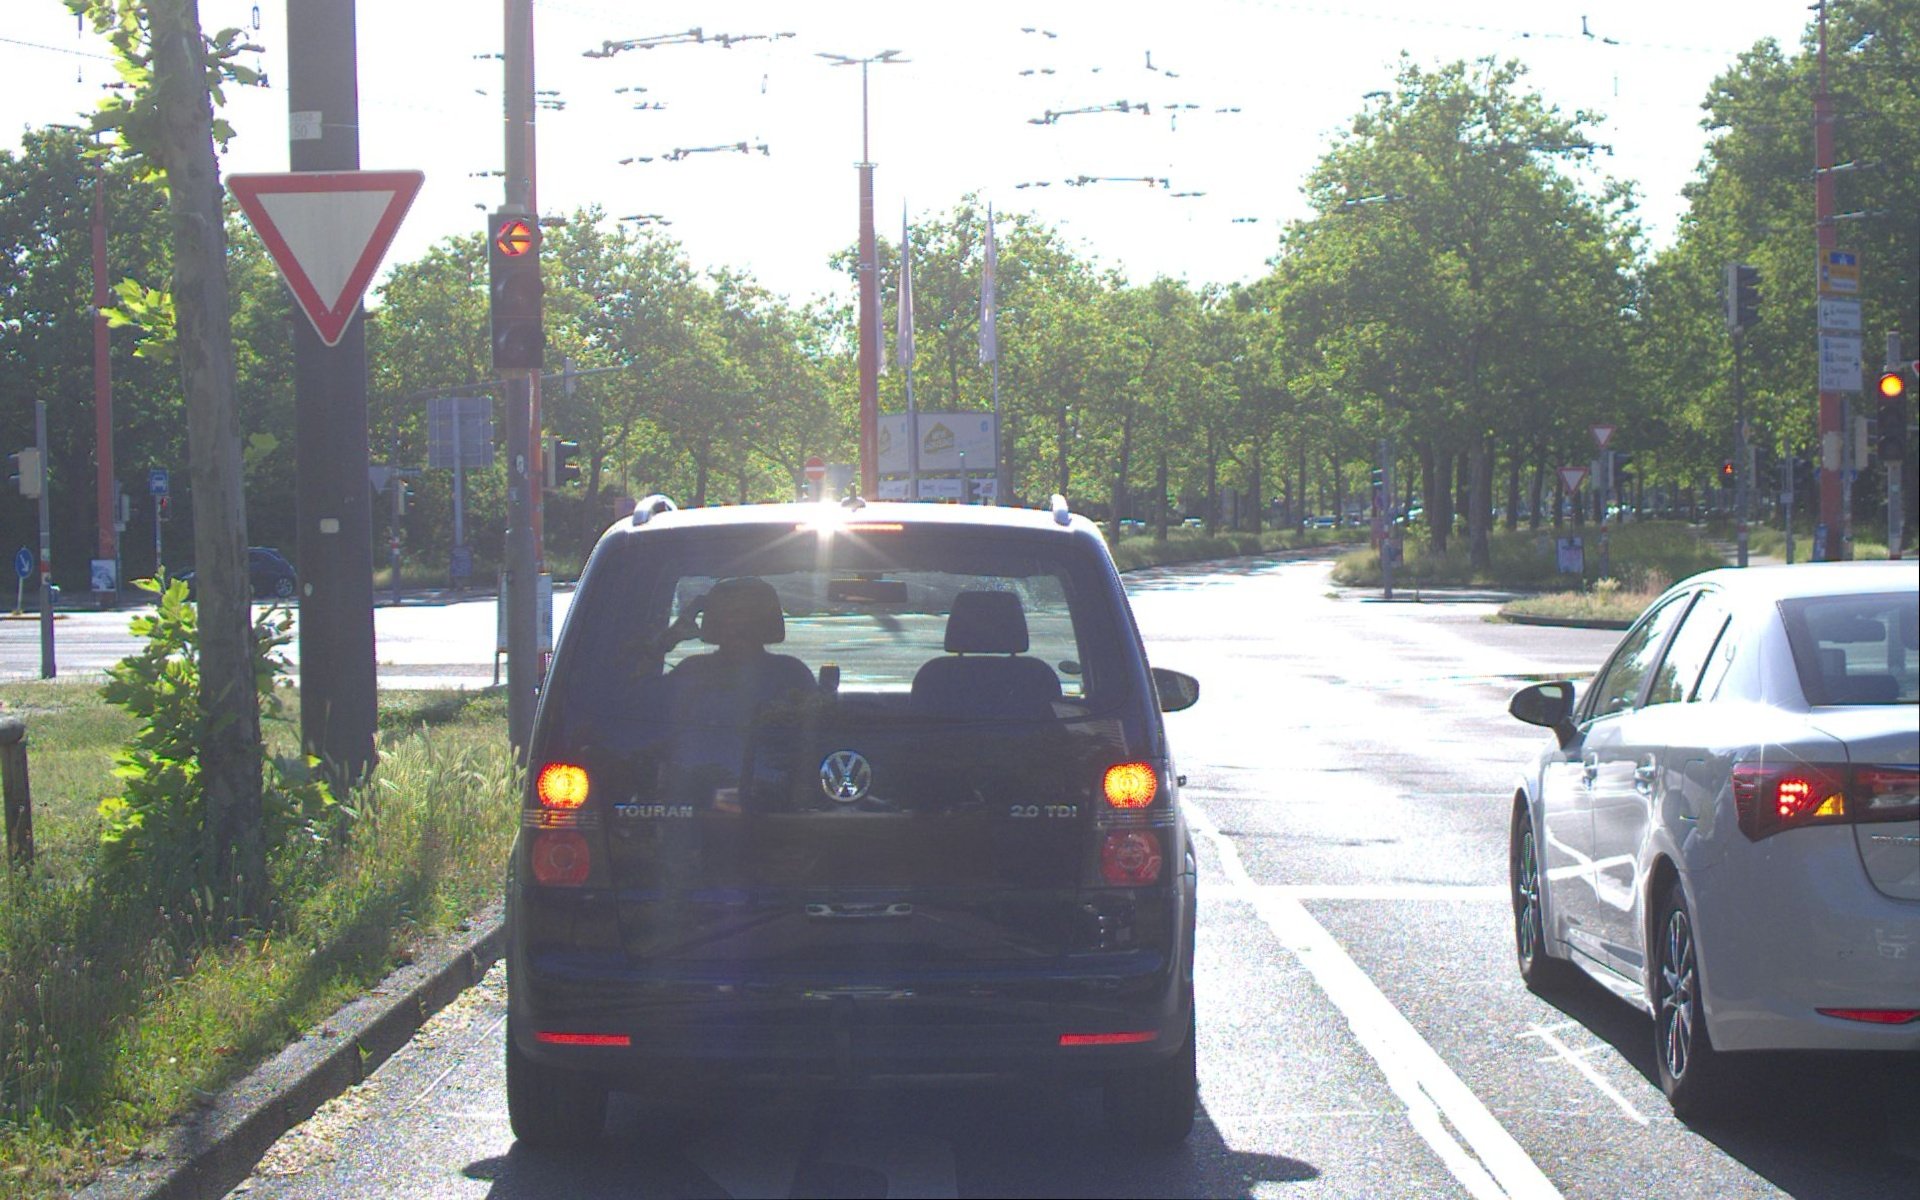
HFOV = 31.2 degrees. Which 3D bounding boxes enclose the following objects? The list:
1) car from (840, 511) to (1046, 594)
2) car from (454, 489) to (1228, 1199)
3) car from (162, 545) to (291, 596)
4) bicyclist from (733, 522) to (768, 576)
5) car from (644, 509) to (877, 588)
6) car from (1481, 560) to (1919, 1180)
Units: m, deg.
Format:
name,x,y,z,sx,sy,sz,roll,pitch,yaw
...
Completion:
name,x,y,z,sx,sy,sz,roll,pitch,yaw
car,-0.364,-1.028,74.026,4.124,1.744,1.654,1,1,25
car,-0.252,0.536,9.972,1.738,1.597,4.326,1,1,1
car,-21.096,-0.862,99.043,1.653,1.398,4.128,1,1,21
bicyclist,-7.334,-1.782,120.359,0.977,1.897,1.050,0,1,12
car,-4.181,-1.092,71.957,4.666,1.620,1.654,1,1,26
car,2.758,0.616,10.150,1.799,1.435,4.326,1,1,1
